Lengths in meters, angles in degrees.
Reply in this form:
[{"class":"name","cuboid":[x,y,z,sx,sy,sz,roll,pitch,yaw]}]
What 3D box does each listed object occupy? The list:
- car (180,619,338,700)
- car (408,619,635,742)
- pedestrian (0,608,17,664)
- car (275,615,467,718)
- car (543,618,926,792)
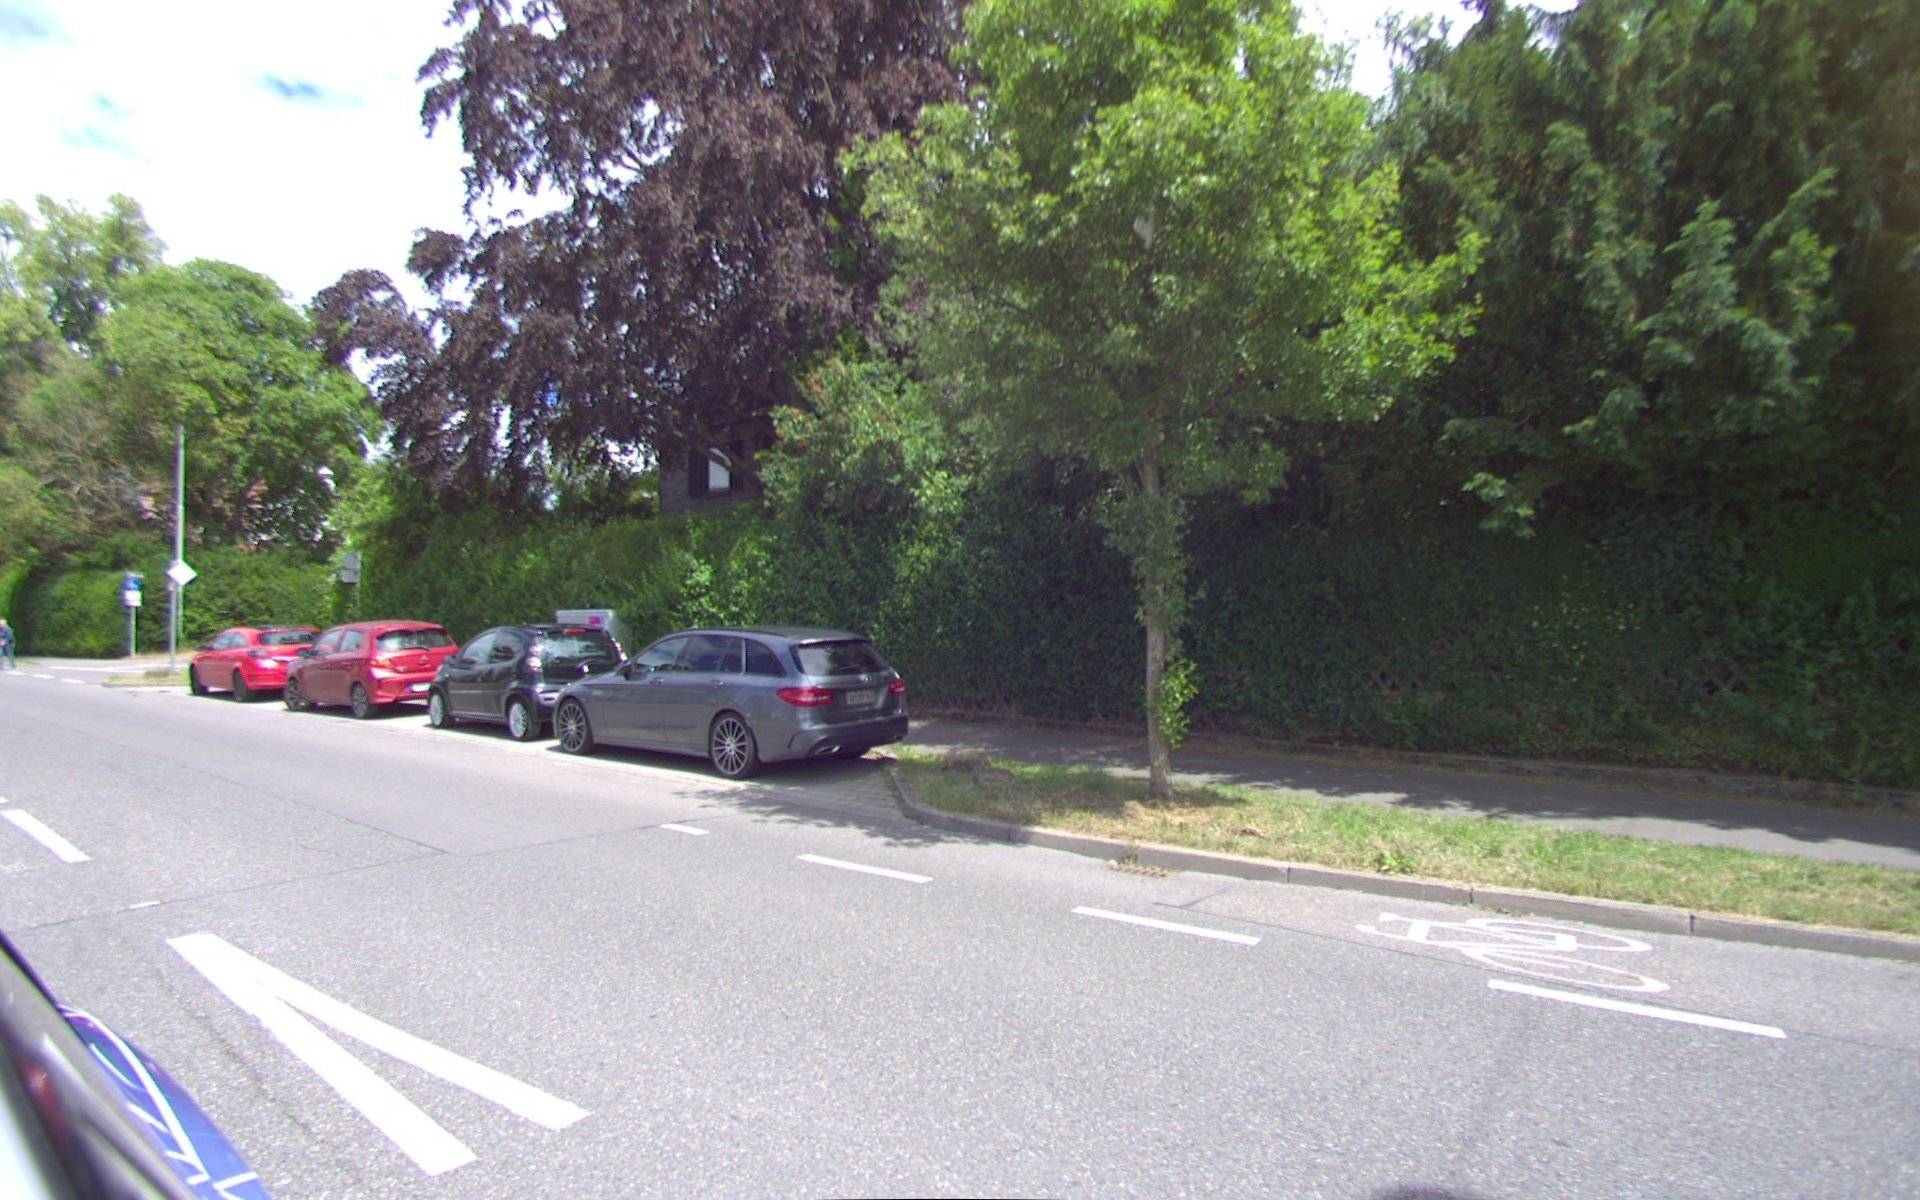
[{"class":"car","cuboid":[-13.774,1.104,19.846,3.368,1.377,1.512,0,0,36]},{"class":"car","cuboid":[-6.045,1.004,13.852,3.190,1.422,1.540,0,0,39]},{"class":"pedestrian","cuboid":[-28.923,1.078,30.503,0.585,1.685,0.548,-1,0,26]},{"class":"car","cuboid":[-9.702,1.016,16.614,3.317,1.489,1.505,-1,0,35]},{"class":"car","cuboid":[-2.573,0.959,10.929,4.397,1.426,1.666,0,1,39]}]
